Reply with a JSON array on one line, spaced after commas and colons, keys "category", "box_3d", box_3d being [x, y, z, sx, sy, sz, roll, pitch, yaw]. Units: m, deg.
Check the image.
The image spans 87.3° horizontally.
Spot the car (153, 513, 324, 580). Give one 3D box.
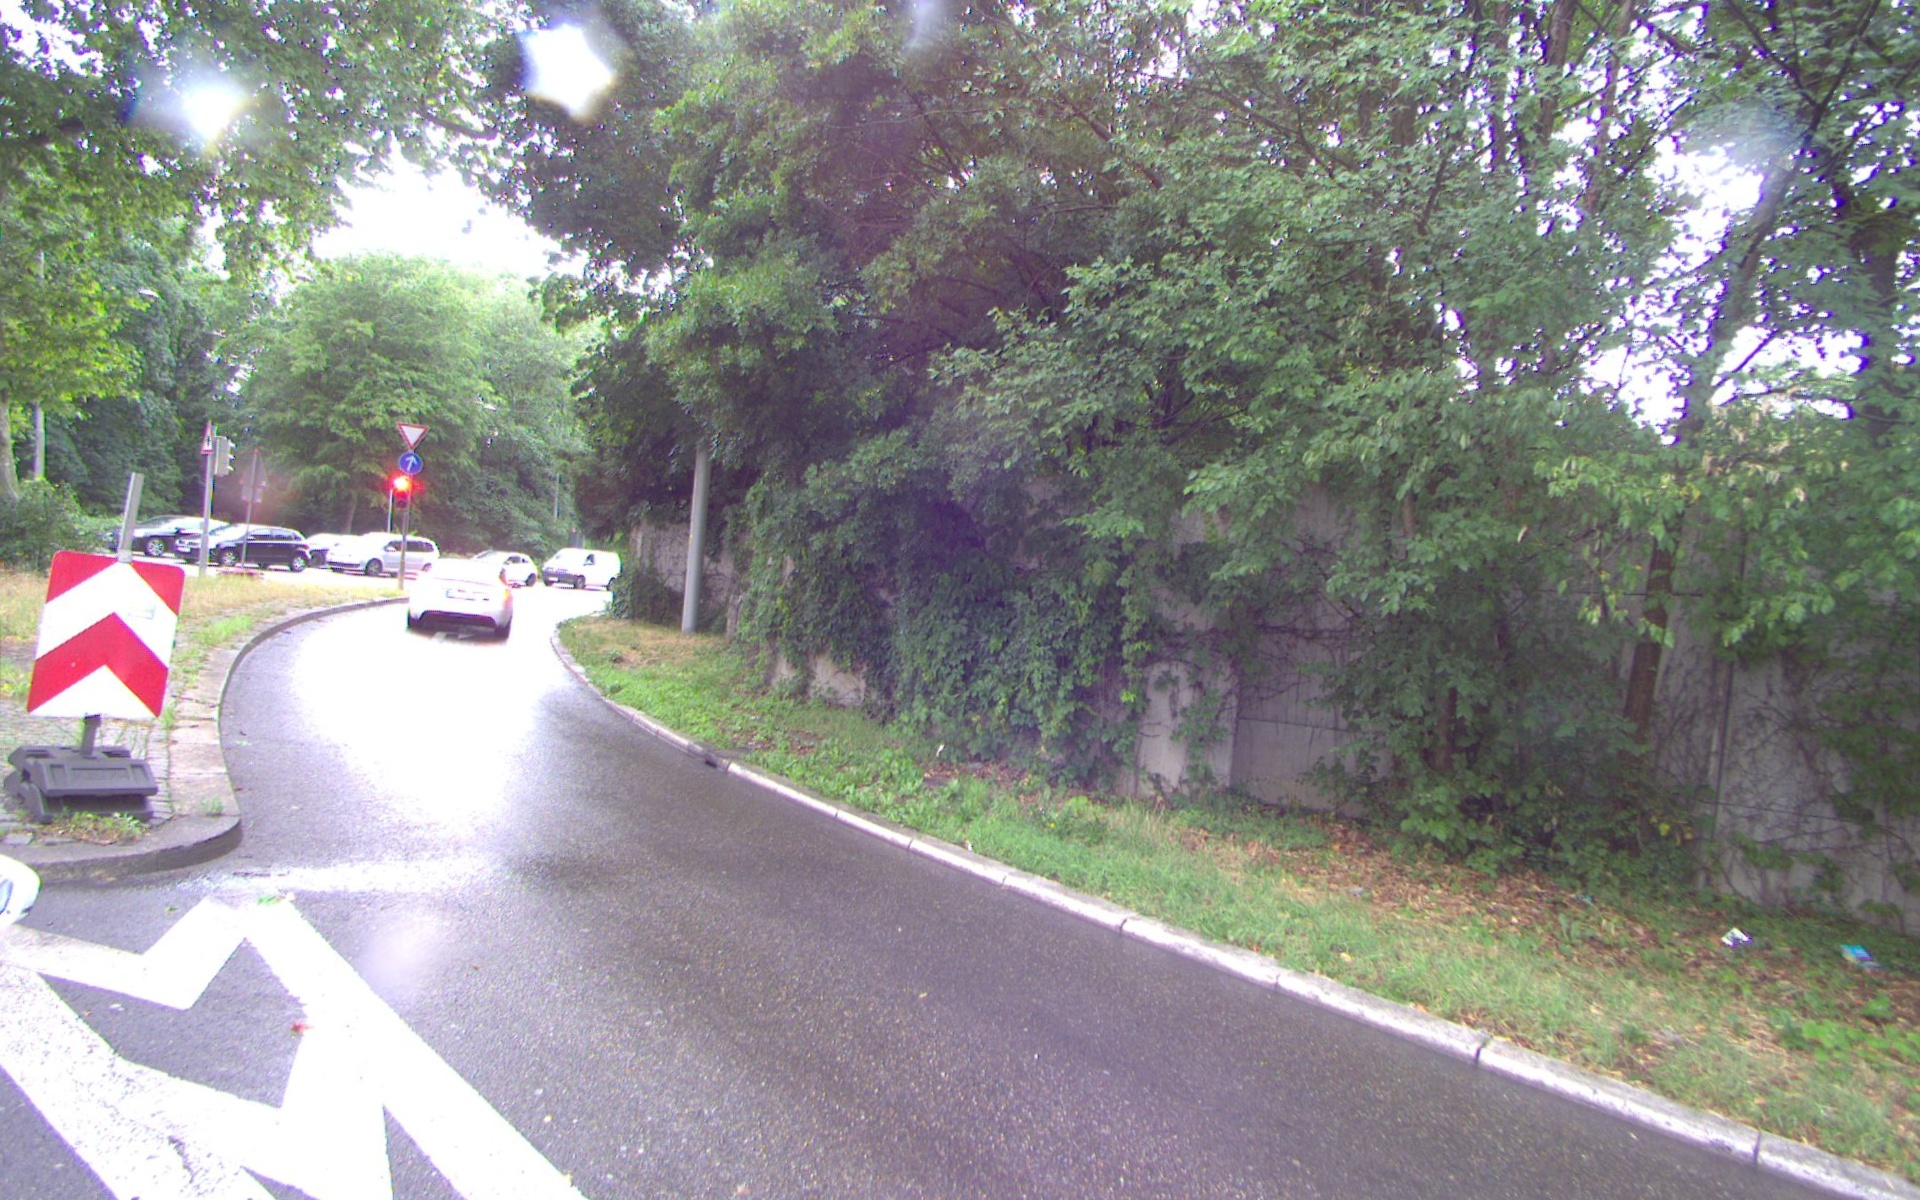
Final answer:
[{"category": "car", "box_3d": [-23.317, -1.677, 32.728, 1.759, 1.477, 4.205, 7, -2, 16]}]

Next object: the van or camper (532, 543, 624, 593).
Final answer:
[{"category": "van or camper", "box_3d": [-19.132, -1.558, 50.616, 1.870, 1.970, 4.870, 7, -1, 11]}]

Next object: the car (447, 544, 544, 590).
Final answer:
[{"category": "car", "box_3d": [-20.543, -1.420, 44.686, 1.627, 1.478, 3.869, 7, -2, 16]}]

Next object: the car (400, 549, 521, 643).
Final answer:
[{"category": "car", "box_3d": [-10.346, -0.120, 21.138, 1.837, 1.464, 4.593, 11, -3, -24]}]

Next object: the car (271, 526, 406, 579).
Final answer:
[{"category": "car", "box_3d": [-24.785, -1.870, 40.327, 1.795, 1.418, 4.452, 7, -2, 16]}]

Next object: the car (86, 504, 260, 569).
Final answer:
[{"category": "car", "box_3d": [-26.673, -2.110, 34.284, 1.913, 1.457, 4.218, 7, -2, 16]}]

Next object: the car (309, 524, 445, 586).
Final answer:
[{"category": "car", "box_3d": [-22.080, -1.648, 38.335, 1.871, 1.699, 4.216, 7, -2, 16]}]
